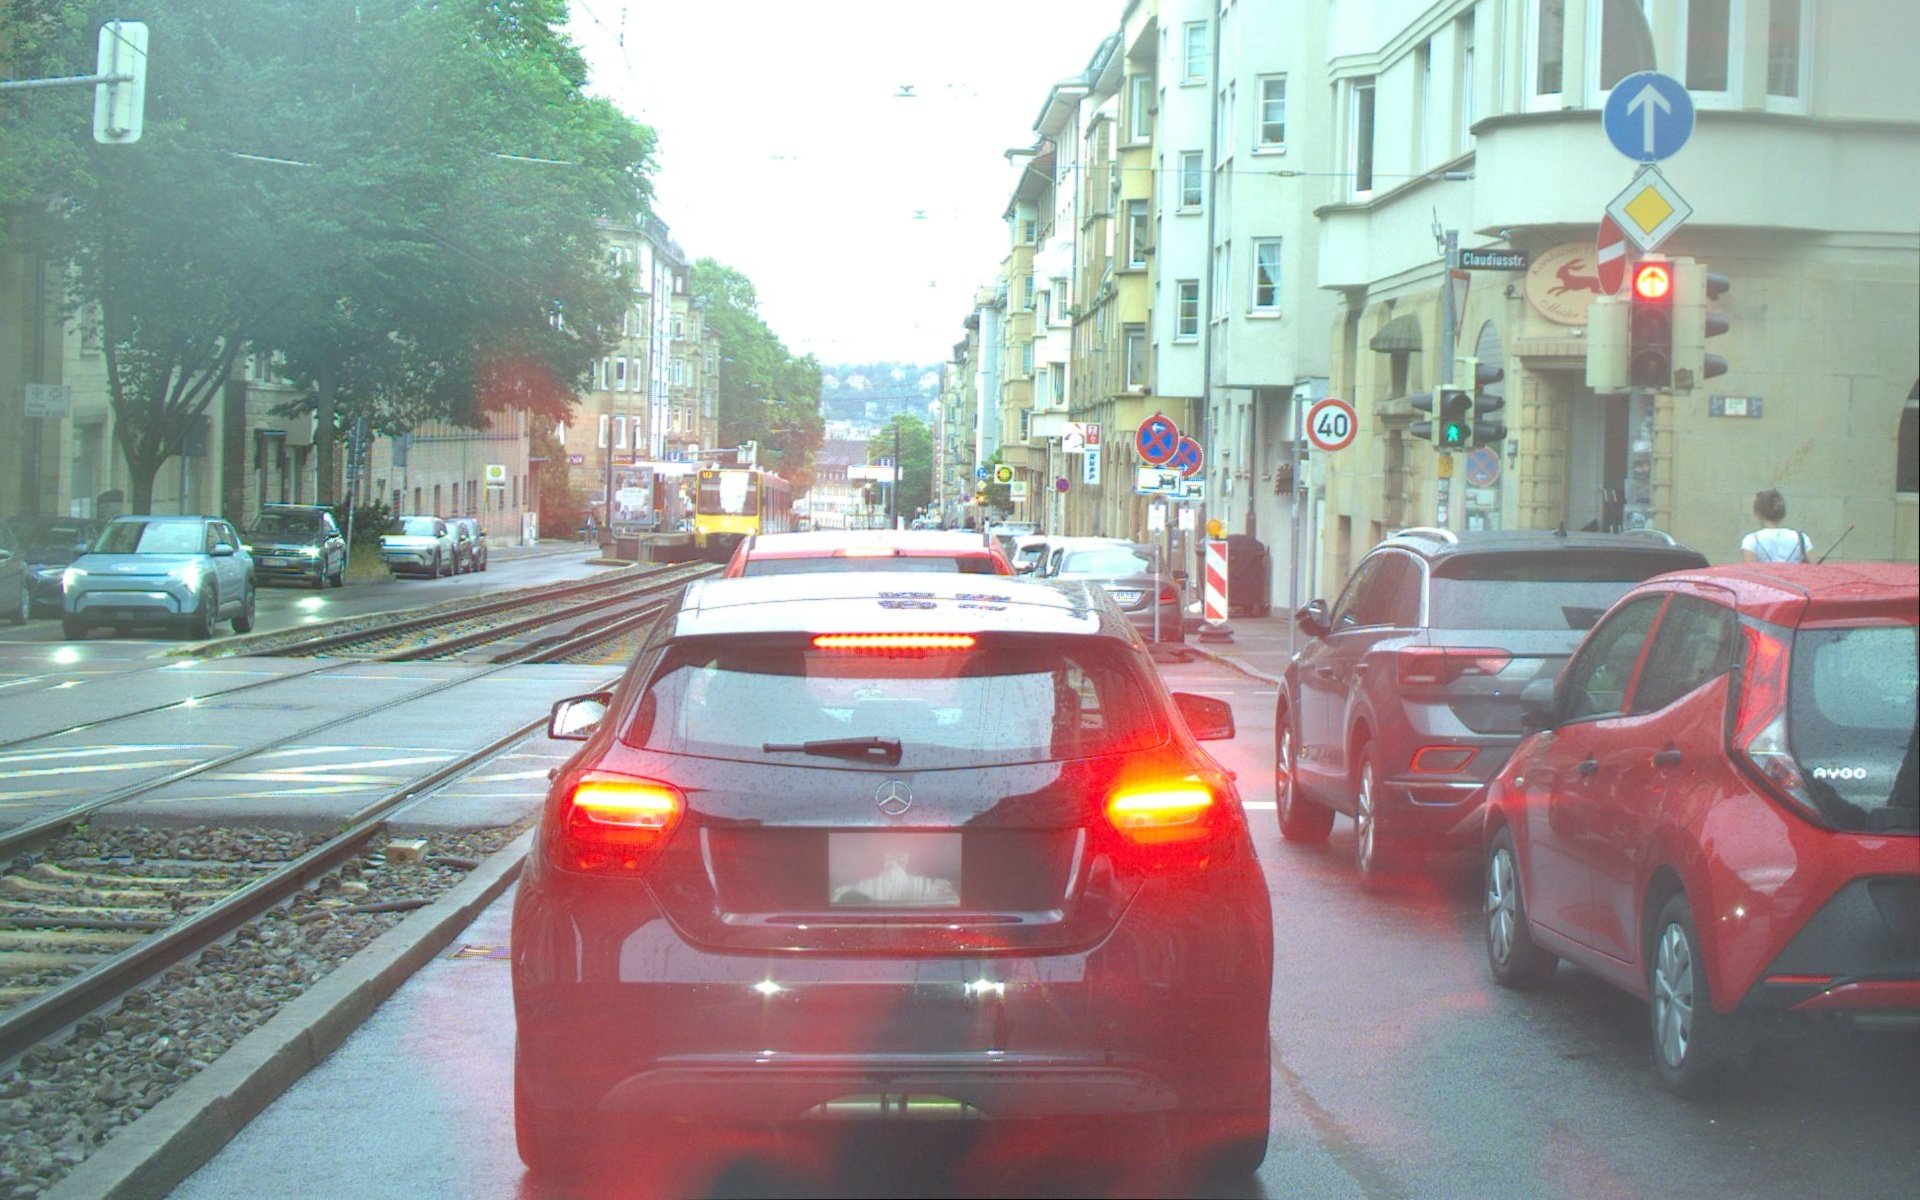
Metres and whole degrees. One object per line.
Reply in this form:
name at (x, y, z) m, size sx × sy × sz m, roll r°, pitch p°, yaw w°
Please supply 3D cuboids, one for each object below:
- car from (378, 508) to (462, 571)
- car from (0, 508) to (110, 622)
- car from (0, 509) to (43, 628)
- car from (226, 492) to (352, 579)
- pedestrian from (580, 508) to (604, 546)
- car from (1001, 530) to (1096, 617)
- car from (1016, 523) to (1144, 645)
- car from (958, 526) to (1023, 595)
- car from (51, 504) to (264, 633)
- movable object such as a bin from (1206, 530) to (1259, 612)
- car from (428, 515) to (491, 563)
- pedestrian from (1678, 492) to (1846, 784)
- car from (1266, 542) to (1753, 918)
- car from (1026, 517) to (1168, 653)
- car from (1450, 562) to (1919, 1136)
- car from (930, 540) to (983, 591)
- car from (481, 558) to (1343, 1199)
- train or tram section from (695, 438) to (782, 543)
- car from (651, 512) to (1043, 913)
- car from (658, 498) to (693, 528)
car at (-13.991, -1.546, 89.162) m, size 1.589 × 1.575 × 3.918 m, roll 1°, pitch 0°, yaw -1°
car at (-13.736, -0.520, 50.720) m, size 1.716 × 1.605 × 3.919 m, roll 1°, pitch 0°, yaw -5°
car at (-13.484, -0.432, 45.690) m, size 1.752 × 1.547 × 4.036 m, roll 1°, pitch 0°, yaw -4°
car at (-13.955, -1.328, 71.699) m, size 1.875 × 1.731 × 3.918 m, roll 1°, pitch 0°, yaw -1°
pedestrian at (-19.052, -3.764, 177.991) m, size 1.053 × 1.951 × 1.043 m, roll 2°, pitch 1°, yaw 1°
car at (1.555, -0.499, 61.521) m, size 1.544 × 1.481 × 3.548 m, roll 1°, pitch 1°, yaw -1°
car at (1.612, -0.245, 47.111) m, size 1.544 × 1.585 × 3.548 m, roll 1°, pitch 1°, yaw -1°
car at (0.637, -0.858, 73.589) m, size 1.294 × 1.437 × 2.929 m, roll 1°, pitch 1°, yaw -1°
car at (-10.459, -0.414, 45.075) m, size 1.898 × 1.582 × 3.973 m, roll 1°, pitch 0°, yaw -1°
movable object such as a bin at (4.713, -0.502, 59.567) m, size 0.878 × 1.384 × 0.982 m, roll 1°, pitch 0°, yaw 3°
car at (-14.333, -1.734, 98.571) m, size 1.448 × 1.326 × 3.272 m, roll 1°, pitch 0°, yaw -2°
pedestrian at (4.923, 0.225, 21.166) m, size 0.741 × 1.742 × 1.111 m, roll 1°, pitch 0°, yaw -1°
car at (2.383, 0.492, 15.759) m, size 1.544 × 1.481 × 3.830 m, roll 1°, pitch 1°, yaw -1°
car at (1.667, -0.208, 42.636) m, size 1.544 × 1.585 × 3.548 m, roll 1°, pitch 1°, yaw -1°
car at (2.646, 0.636, 10.521) m, size 1.642 × 1.443 × 3.299 m, roll 1°, pitch 1°, yaw -3°
car at (-0.099, -1.165, 114.122) m, size 1.545 × 1.630 × 3.686 m, roll 1°, pitch 1°, yaw 2°
car at (-0.130, 0.642, 9.453) m, size 1.829 × 1.453 × 4.104 m, roll 1°, pitch 1°, yaw -1°
train or tram section at (-8.617, -4.193, 134.557) m, size 2.783 × 3.847 × 10.430 m, roll 1°, pitch 0°, yaw -1°
car at (-0.483, 0.439, 15.840) m, size 1.565 × 1.604 × 3.814 m, roll 1°, pitch 0°, yaw -1°
car at (-12.441, -3.805, 150.489) m, size 1.377 × 1.245 × 3.298 m, roll 1°, pitch 0°, yaw -2°
